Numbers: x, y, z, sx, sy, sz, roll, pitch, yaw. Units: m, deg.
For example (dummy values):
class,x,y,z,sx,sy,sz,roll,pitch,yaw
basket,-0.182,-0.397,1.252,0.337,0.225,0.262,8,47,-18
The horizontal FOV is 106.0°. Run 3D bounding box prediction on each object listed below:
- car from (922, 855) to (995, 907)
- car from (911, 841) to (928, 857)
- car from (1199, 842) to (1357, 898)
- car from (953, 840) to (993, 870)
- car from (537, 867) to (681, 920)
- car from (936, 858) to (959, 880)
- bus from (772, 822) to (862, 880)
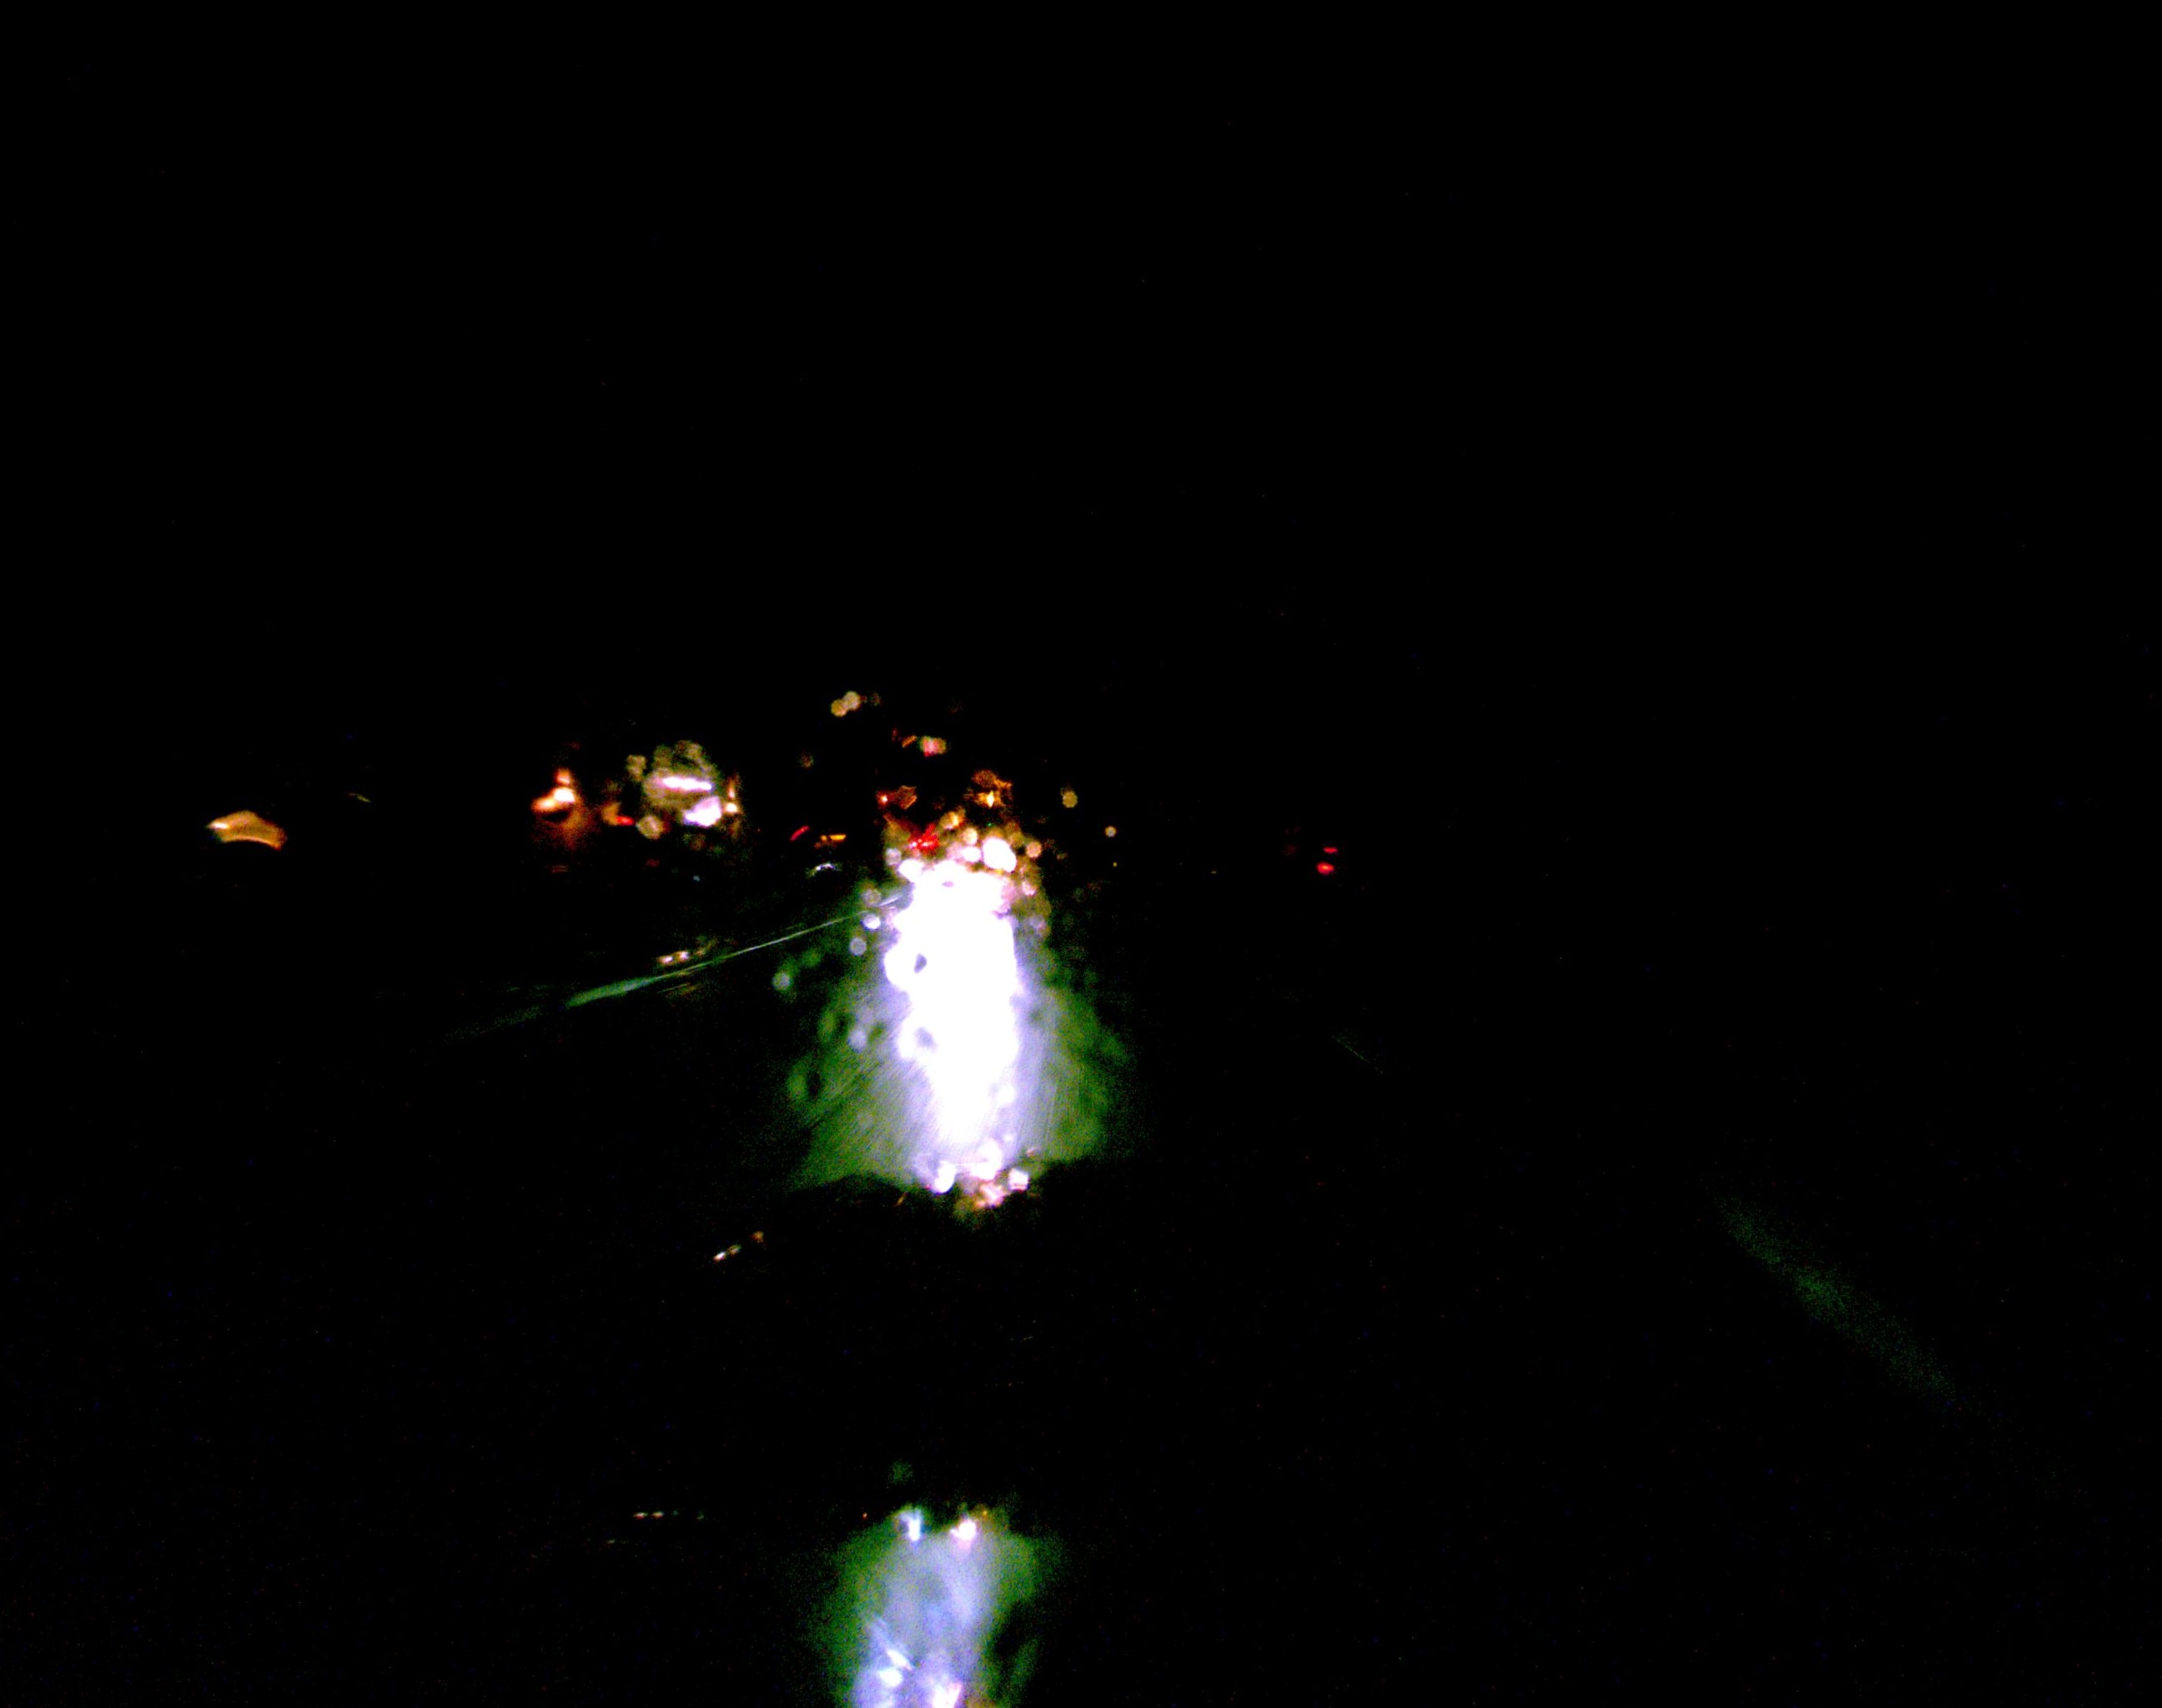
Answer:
class,x,y,z,sx,sy,sz,roll,pitch,yaw
car,-3.834,0.829,26.138,1.952,1.522,4.392,0,-1,-4
car,-21.045,-0.685,106.540,1.993,2.014,3.987,0,-1,-9
car,6.464,0.511,27.057,4.714,1.691,1.973,-1,-1,40
car,-10.367,0.056,77.691,2.547,2.497,5.678,-1,3,-20
car,-15.427,1.250,26.906,1.677,1.398,4.165,-3,0,12
car,-10.255,1.134,62.705,1.695,1.599,3.789,-1,1,-9
bus,-20.087,-0.259,61.135,2.914,3.868,12.921,-1,1,-34
